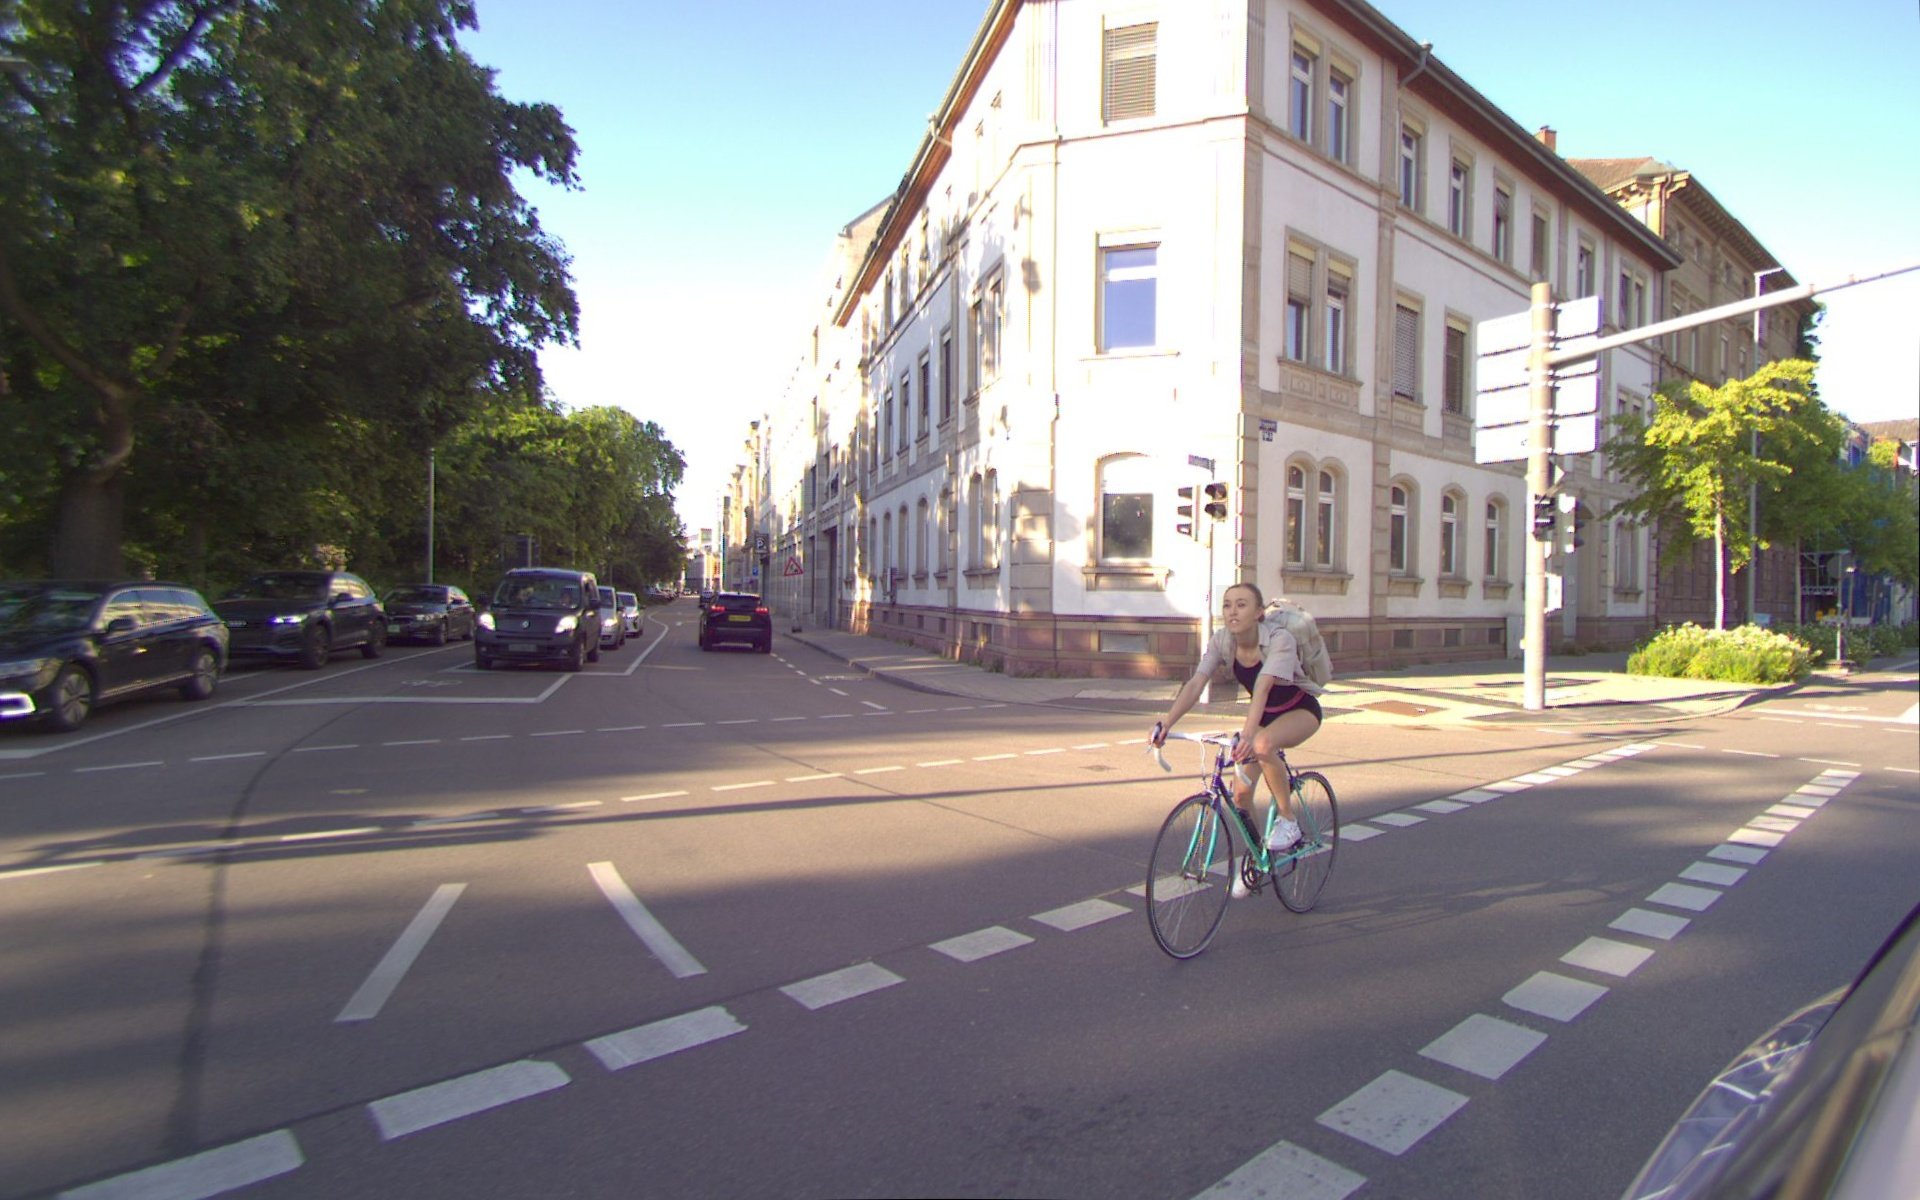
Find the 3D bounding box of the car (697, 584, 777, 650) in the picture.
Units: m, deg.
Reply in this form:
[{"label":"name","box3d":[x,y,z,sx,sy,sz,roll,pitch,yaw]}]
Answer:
[{"label":"car","box3d":[-6.018,0.426,27.178,1.863,1.547,4.066,3,-1,-14]}]

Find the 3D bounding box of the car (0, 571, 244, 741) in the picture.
[{"label":"car","box3d":[-9.771,0.448,10.926,1.863,1.492,4.612,0,1,-15]}]

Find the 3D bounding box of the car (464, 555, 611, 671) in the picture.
[{"label":"car","box3d":[-7.620,0.191,18.661,1.908,1.827,4.257,2,0,-15]}]

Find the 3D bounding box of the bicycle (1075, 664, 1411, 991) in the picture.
[{"label":"bicycle","box3d":[1.329,0.887,4.520,1.810,1.111,0.521,1,0,-41]}]

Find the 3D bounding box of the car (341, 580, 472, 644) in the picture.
[{"label":"car","box3d":[-13.304,0.223,24.593,1.863,1.399,4.244,0,1,-15]}]

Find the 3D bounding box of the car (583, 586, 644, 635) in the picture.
[{"label":"car","box3d":[-11.155,0.296,32.781,1.597,1.433,3.658,2,0,-15]}]

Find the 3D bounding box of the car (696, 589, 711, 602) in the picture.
[{"label":"car","box3d":[-30.240,-0.584,119.285,1.597,1.433,3.658,2,0,-15]}]

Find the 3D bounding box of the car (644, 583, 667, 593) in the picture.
[{"label":"car","box3d":[-49.293,-1.918,163.794,3.573,1.553,1.635,2,0,-18]}]

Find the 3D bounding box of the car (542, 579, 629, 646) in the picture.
[{"label":"car","box3d":[-9.391,0.271,25.595,1.702,1.530,3.537,2,0,-15]}]

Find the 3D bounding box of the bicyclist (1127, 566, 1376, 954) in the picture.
[{"label":"bicyclist","box3d":[1.313,0.621,4.498,1.062,1.510,0.553,1,0,-40]}]

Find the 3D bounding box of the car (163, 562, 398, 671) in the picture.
[{"label":"car","box3d":[-11.733,0.207,17.895,1.863,1.673,4.547,0,1,-11]}]

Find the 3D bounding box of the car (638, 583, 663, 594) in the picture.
[{"label":"car","box3d":[-47.968,-1.719,156.683,3.573,1.553,1.635,2,0,-18]}]
